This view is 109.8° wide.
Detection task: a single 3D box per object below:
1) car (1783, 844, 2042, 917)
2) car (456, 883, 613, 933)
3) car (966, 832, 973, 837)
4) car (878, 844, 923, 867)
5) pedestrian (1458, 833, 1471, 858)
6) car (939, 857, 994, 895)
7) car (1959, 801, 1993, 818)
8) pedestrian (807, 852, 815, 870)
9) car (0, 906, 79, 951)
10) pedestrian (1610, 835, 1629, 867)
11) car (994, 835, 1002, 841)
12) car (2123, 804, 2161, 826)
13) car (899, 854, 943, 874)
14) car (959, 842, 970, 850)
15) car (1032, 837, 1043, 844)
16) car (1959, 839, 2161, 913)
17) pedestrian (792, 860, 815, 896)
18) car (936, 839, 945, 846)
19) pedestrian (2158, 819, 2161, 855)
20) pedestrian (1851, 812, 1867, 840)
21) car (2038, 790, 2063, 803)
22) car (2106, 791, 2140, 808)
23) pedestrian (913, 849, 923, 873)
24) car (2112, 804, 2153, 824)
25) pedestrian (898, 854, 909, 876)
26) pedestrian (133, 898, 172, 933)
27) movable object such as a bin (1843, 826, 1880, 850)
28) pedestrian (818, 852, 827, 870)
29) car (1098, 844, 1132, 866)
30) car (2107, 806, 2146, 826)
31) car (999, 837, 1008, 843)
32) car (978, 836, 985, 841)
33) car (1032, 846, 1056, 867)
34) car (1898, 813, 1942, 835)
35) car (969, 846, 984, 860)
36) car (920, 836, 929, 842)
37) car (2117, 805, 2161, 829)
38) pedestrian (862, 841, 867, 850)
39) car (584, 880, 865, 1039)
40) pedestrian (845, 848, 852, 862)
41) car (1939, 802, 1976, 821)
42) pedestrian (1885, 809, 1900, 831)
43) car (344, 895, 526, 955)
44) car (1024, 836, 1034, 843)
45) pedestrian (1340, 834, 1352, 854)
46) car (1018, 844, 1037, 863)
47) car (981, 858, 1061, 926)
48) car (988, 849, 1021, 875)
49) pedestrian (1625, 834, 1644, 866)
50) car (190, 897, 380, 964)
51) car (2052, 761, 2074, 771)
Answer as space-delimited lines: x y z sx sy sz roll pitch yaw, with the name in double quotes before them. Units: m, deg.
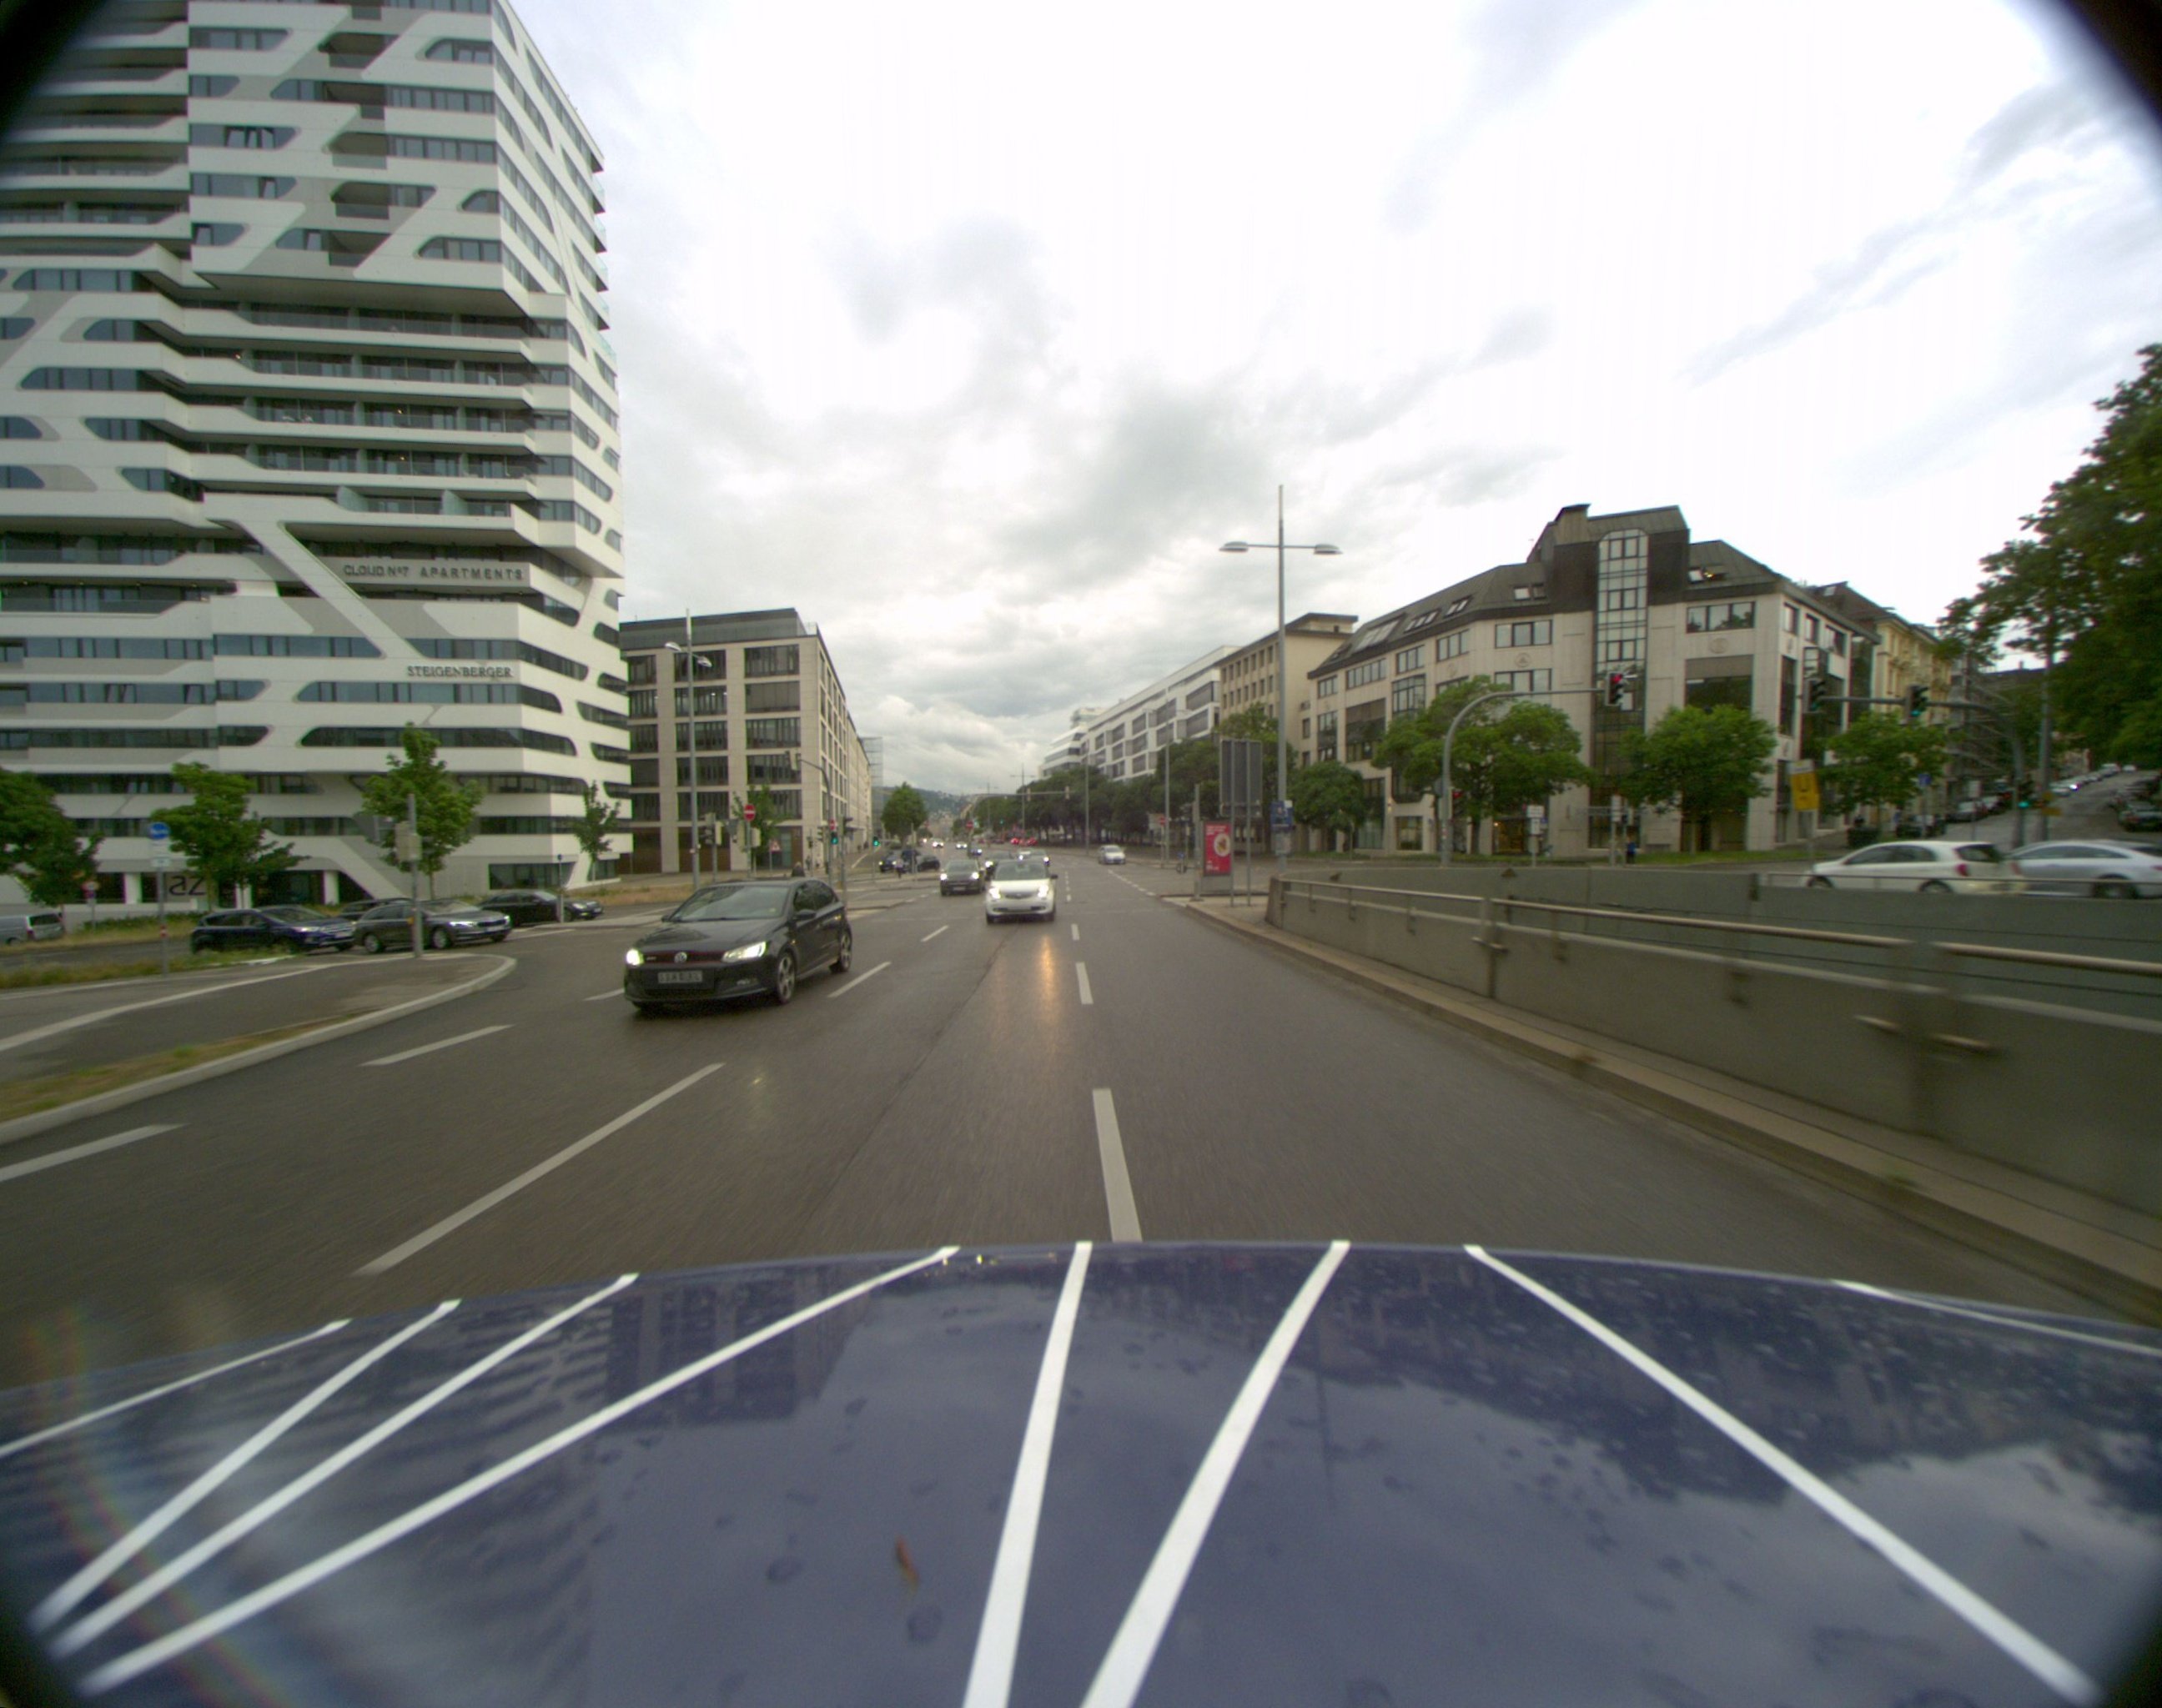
"car" 20.116 0.550 18.674 1.800 1.552 3.997 -1 1 -6
"car" -20.847 2.042 29.146 4.483 1.383 1.855 -4 2 -3
"car" -36.363 -6.323 248.395 1.801 1.502 3.995 -3 1 -13
"car" -15.971 0.084 67.456 1.796 1.851 4.297 -2 1 20
"pedestrian" 28.361 -0.614 56.152 0.604 1.774 0.525 -3 2 -9
"car" -4.966 0.935 33.317 1.751 1.433 3.706 -3 1 1
"car" 85.529 -4.243 72.587 4.007 1.502 1.795 -3 1 -36
"pedestrian" -24.142 0.621 67.953 0.588 1.600 0.603 -3 2 -15
"car" -62.813 4.442 44.744 4.499 2.366 1.798 -2 1 -8
"pedestrian" 30.988 -0.191 43.718 0.590 1.799 0.674 -2 2 5
"car" -24.995 -4.850 228.539 1.801 1.502 3.995 -3 1 -13
"car" 75.570 -2.769 53.989 3.497 1.454 1.606 -3 2 -32
"car" -13.409 0.816 63.761 1.796 1.502 4.004 -2 1 18
"car" -23.519 -1.563 153.525 1.801 1.502 3.995 -3 1 -13
"car" -10.255 -3.269 178.606 1.801 1.502 3.995 -3 1 -13
"car" 23.239 0.431 17.311 1.799 1.501 3.999 -1 1 -2
"pedestrian" -12.865 1.103 35.226 0.707 1.615 0.644 -2 2 1
"car" -30.463 -2.465 164.517 1.801 1.502 3.995 -3 1 -13
"pedestrian" 53.716 -0.838 37.415 0.632 1.799 0.675 -1 2 41
"pedestrian" 57.671 -2.061 56.330 0.748 2.002 0.754 -3 1 -36
"car" 119.873 -7.091 93.973 4.007 1.502 1.795 -3 1 -36
"car" 96.223 -5.035 70.138 3.497 1.454 1.606 -3 2 -32
"pedestrian" -12.743 0.548 59.406 0.604 1.792 0.587 -3 2 -9
"car" 81.052 -3.081 58.561 3.497 1.454 1.606 -3 2 -32
"pedestrian" -12.086 0.747 51.731 0.588 1.469 0.603 -3 2 -22
"pedestrian" -57.451 3.807 47.025 1.095 2.002 0.972 -3 2 -7
"movable object such as a bin" 50.221 -1.029 48.907 1.352 1.499 1.071 -1 1 28
"pedestrian" -23.124 0.601 67.934 0.588 1.600 0.603 -3 2 -15
"car" 2.905 0.070 65.487 1.801 1.733 3.995 -3 1 -13
"car" 84.341 -3.052 61.304 3.497 1.454 1.606 -3 2 -32
"car" -21.430 -3.792 210.133 1.801 1.502 3.995 -3 1 -13
"car" -31.047 -4.715 237.199 1.801 1.502 3.995 -3 1 -13
"car" -3.204 0.222 66.003 1.799 1.657 3.999 -2 1 1
"car" 61.551 -2.226 55.746 3.497 1.454 1.606 -3 2 -32
"car" -15.320 -0.101 111.497 1.801 1.934 3.995 -3 1 -13
"car" -48.222 -4.627 233.848 1.802 1.502 3.992 -3 1 -22
"car" 70.362 -2.486 50.461 3.497 1.454 1.606 -3 2 -32
"pedestrian" -34.204 -1.305 120.027 0.588 1.469 0.603 -3 2 -14
"car" -4.156 1.139 9.622 1.678 1.391 3.848 -2 1 0
"pedestrian" -24.244 0.110 79.199 0.588 1.469 0.603 -3 2 -22
"car" 76.181 -3.730 66.018 4.007 1.502 1.795 -3 1 -36
"pedestrian" 63.763 -2.648 59.700 0.651 1.652 0.649 -3 2 -28
"car" -19.389 2.130 22.860 4.477 1.382 1.858 -4 1 15
"car" -12.873 -3.600 187.760 1.801 1.502 3.995 -3 1 -13
"pedestrian" 24.240 -0.881 69.466 0.835 1.774 0.615 -3 2 -9
"car" -5.948 -0.055 84.447 1.799 2.021 3.999 -3 1 -1
"car" -1.472 0.915 20.002 1.799 1.528 3.999 -1 0 -1
"car" -5.268 0.527 52.962 1.799 1.657 3.999 -3 1 1
"pedestrian" 31.694 -0.219 43.481 0.590 1.799 0.674 -2 2 5
"car" -25.517 2.441 24.424 4.479 1.659 1.857 -4 2 9
"car" 173.054 -15.523 133.923 4.005 1.502 1.796 -3 1 -29
